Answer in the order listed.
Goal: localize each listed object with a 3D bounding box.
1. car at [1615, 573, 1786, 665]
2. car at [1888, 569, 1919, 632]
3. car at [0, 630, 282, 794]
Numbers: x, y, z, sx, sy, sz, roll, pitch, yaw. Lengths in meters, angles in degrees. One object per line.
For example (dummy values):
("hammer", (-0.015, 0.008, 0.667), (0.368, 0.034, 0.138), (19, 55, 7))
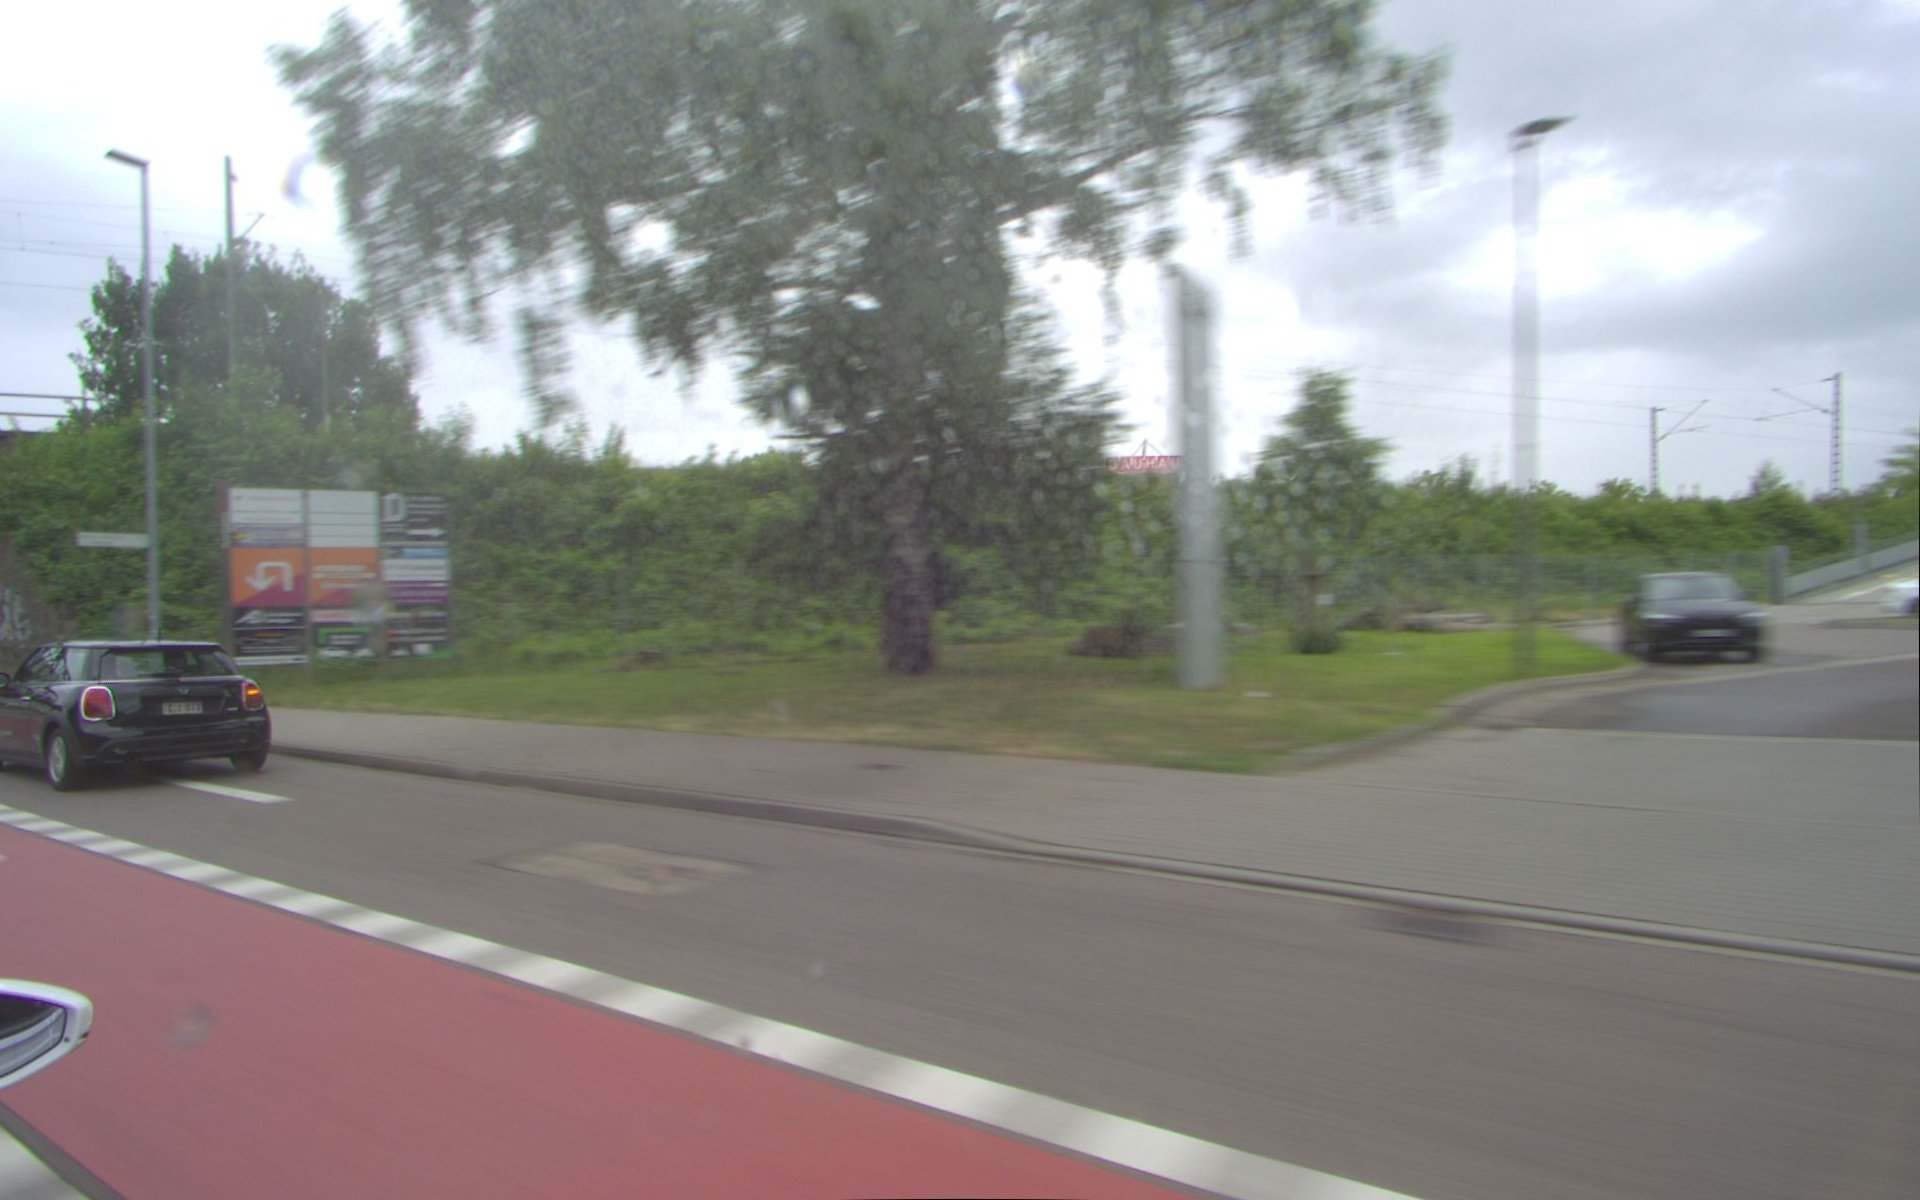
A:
("car", (14.444, 0.337, 19.798), (1.938, 1.610, 4.295), (-2, 0, 26))
("car", (26.413, -0.056, 24.828), (1.875, 1.586, 4.659), (2, -3, -25))
("car", (-9.016, 1.053, 10.684), (3.721, 1.450, 1.676), (-1, -1, 33))
